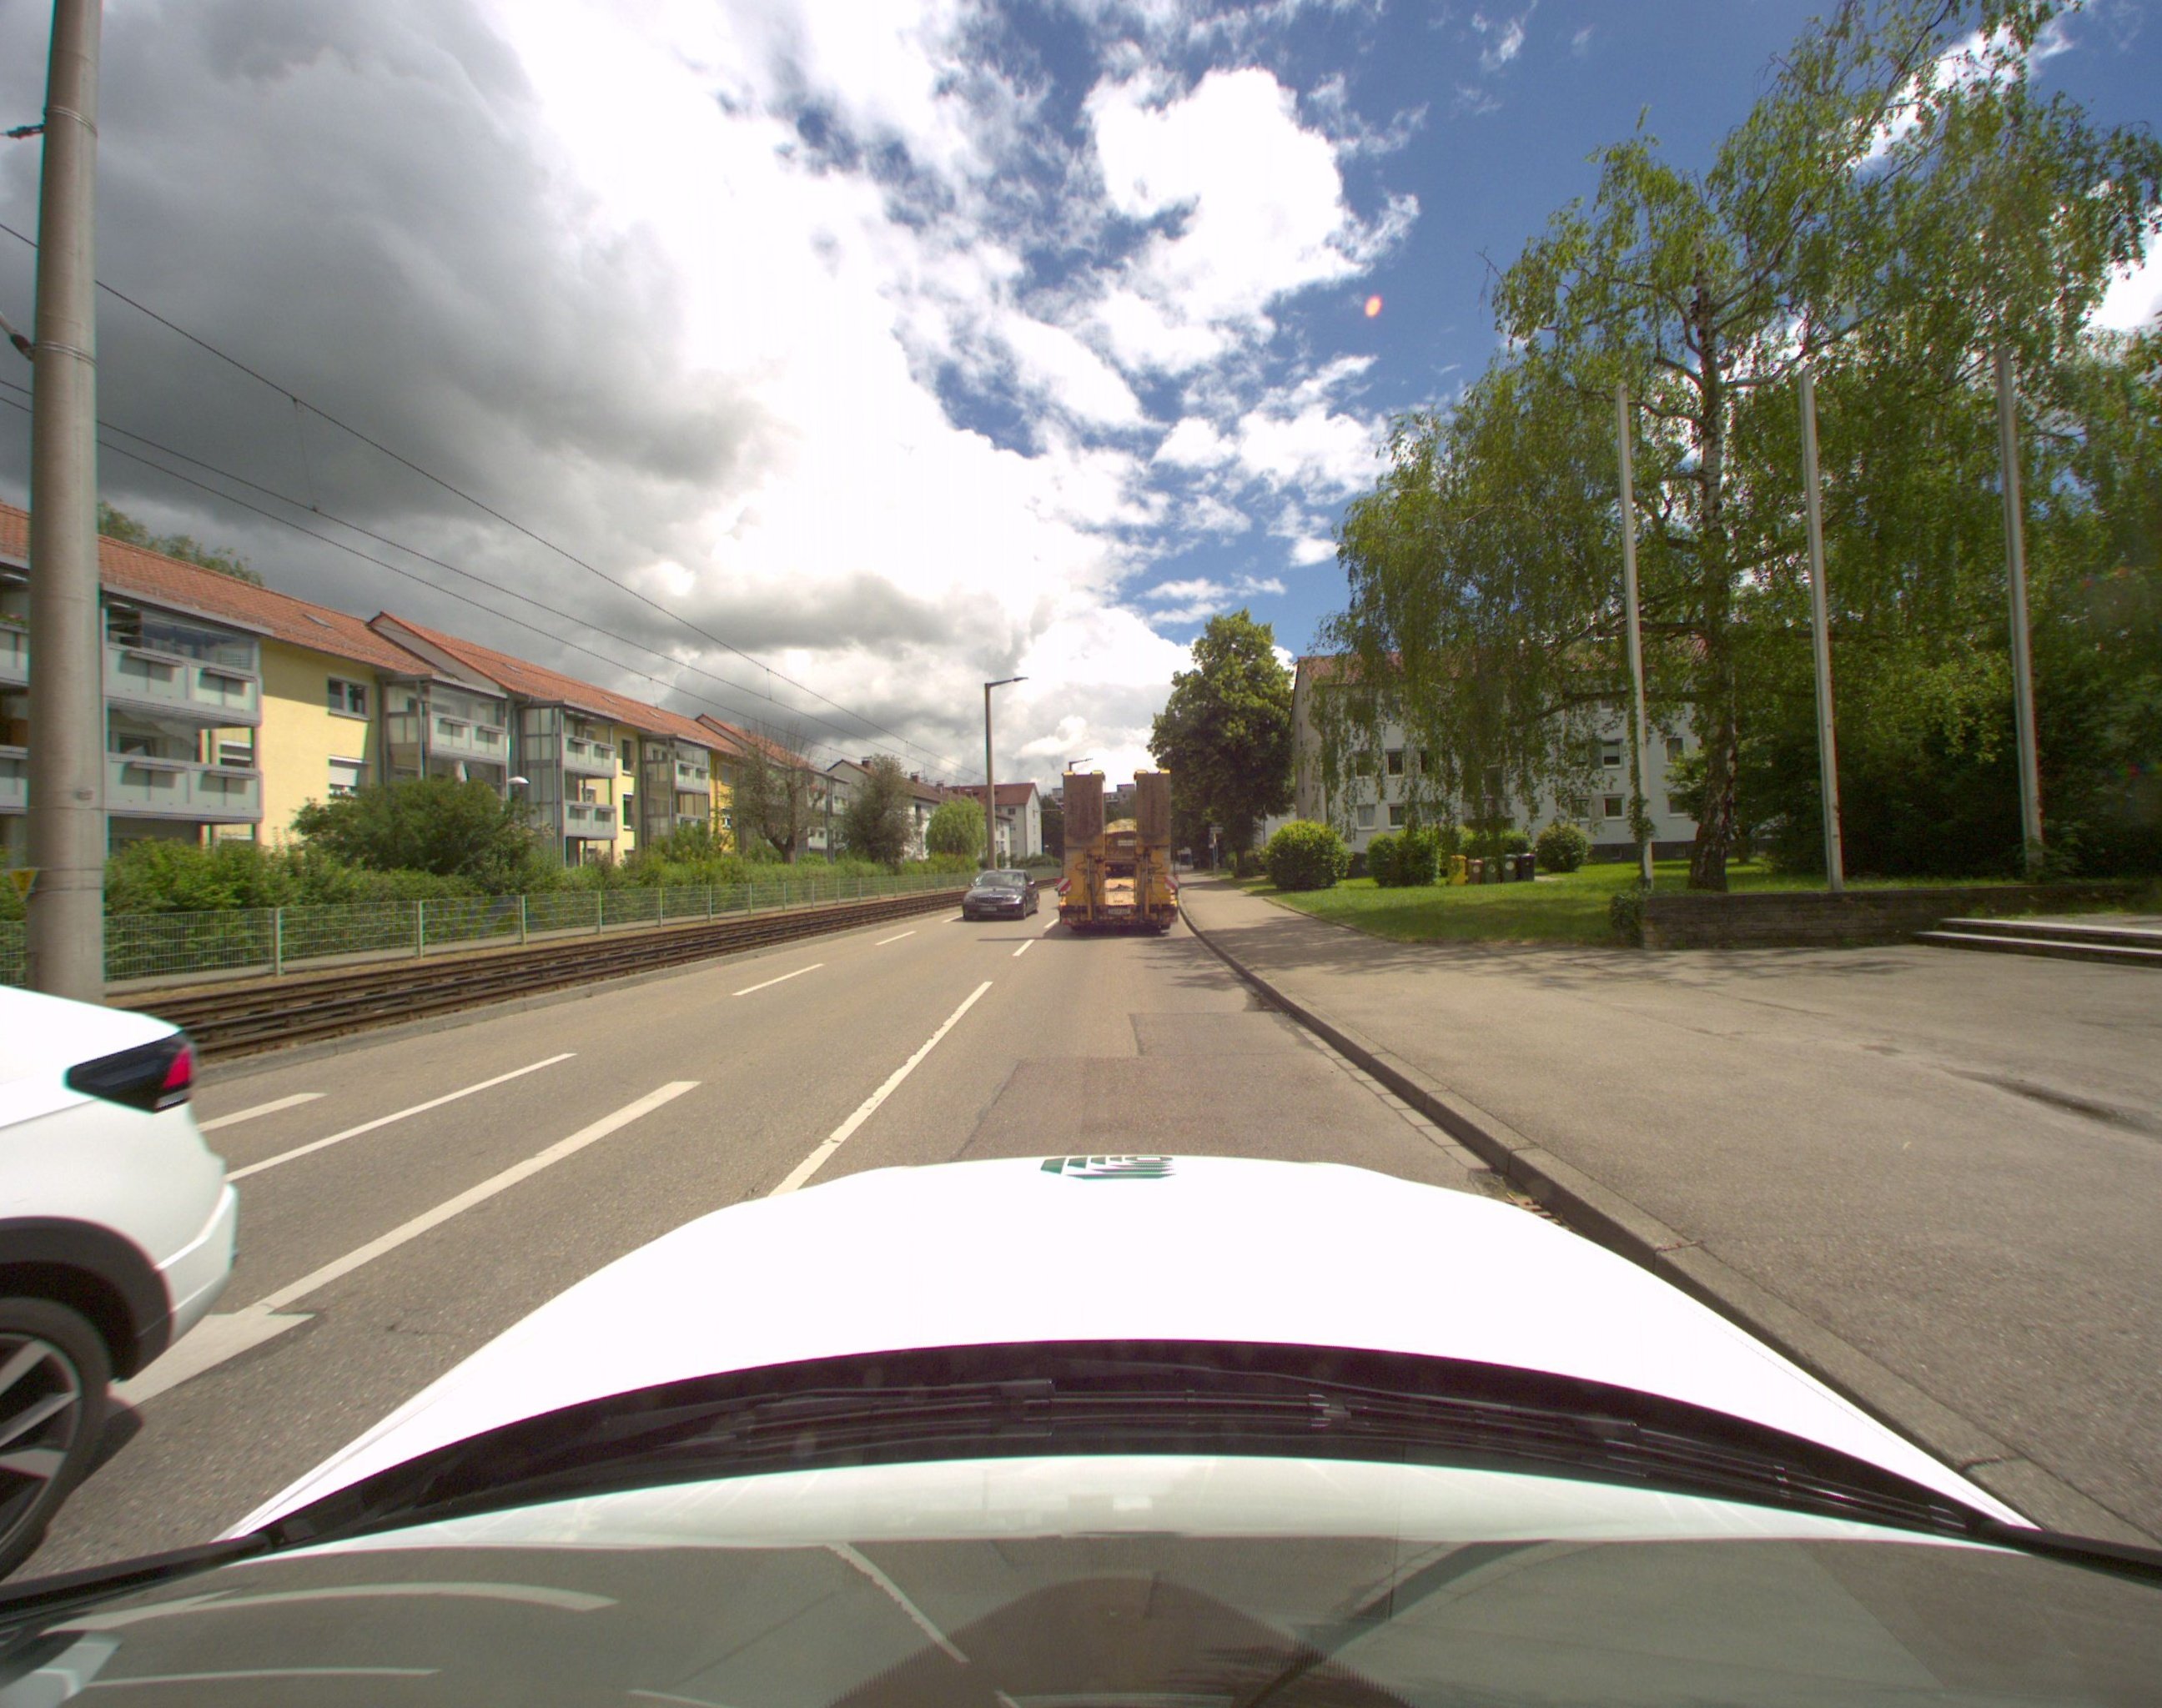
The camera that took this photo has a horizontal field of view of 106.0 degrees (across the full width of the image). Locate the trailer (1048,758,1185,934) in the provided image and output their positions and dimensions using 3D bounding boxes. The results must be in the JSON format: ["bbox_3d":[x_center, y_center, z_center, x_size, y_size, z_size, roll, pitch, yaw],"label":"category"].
[{"bbox_3d":[0.979,-0.051,23.181,2.816,3.646,12.359,-1,-1,2],"label":"trailer"}]

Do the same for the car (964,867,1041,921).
[{"bbox_3d":[-2.226,1.117,24.065,1.622,1.432,4.170,-1,-1,3],"label":"car"}]

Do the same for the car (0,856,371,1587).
[{"bbox_3d":[-3.241,0.774,0.623,1.753,1.552,4.002,-1,-1,3],"label":"car"}]

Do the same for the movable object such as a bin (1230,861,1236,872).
[{"bbox_3d":[13.390,1.069,71.800,0.493,0.955,0.581,-3,-2,6],"label":"movable object such as a bin"}]
